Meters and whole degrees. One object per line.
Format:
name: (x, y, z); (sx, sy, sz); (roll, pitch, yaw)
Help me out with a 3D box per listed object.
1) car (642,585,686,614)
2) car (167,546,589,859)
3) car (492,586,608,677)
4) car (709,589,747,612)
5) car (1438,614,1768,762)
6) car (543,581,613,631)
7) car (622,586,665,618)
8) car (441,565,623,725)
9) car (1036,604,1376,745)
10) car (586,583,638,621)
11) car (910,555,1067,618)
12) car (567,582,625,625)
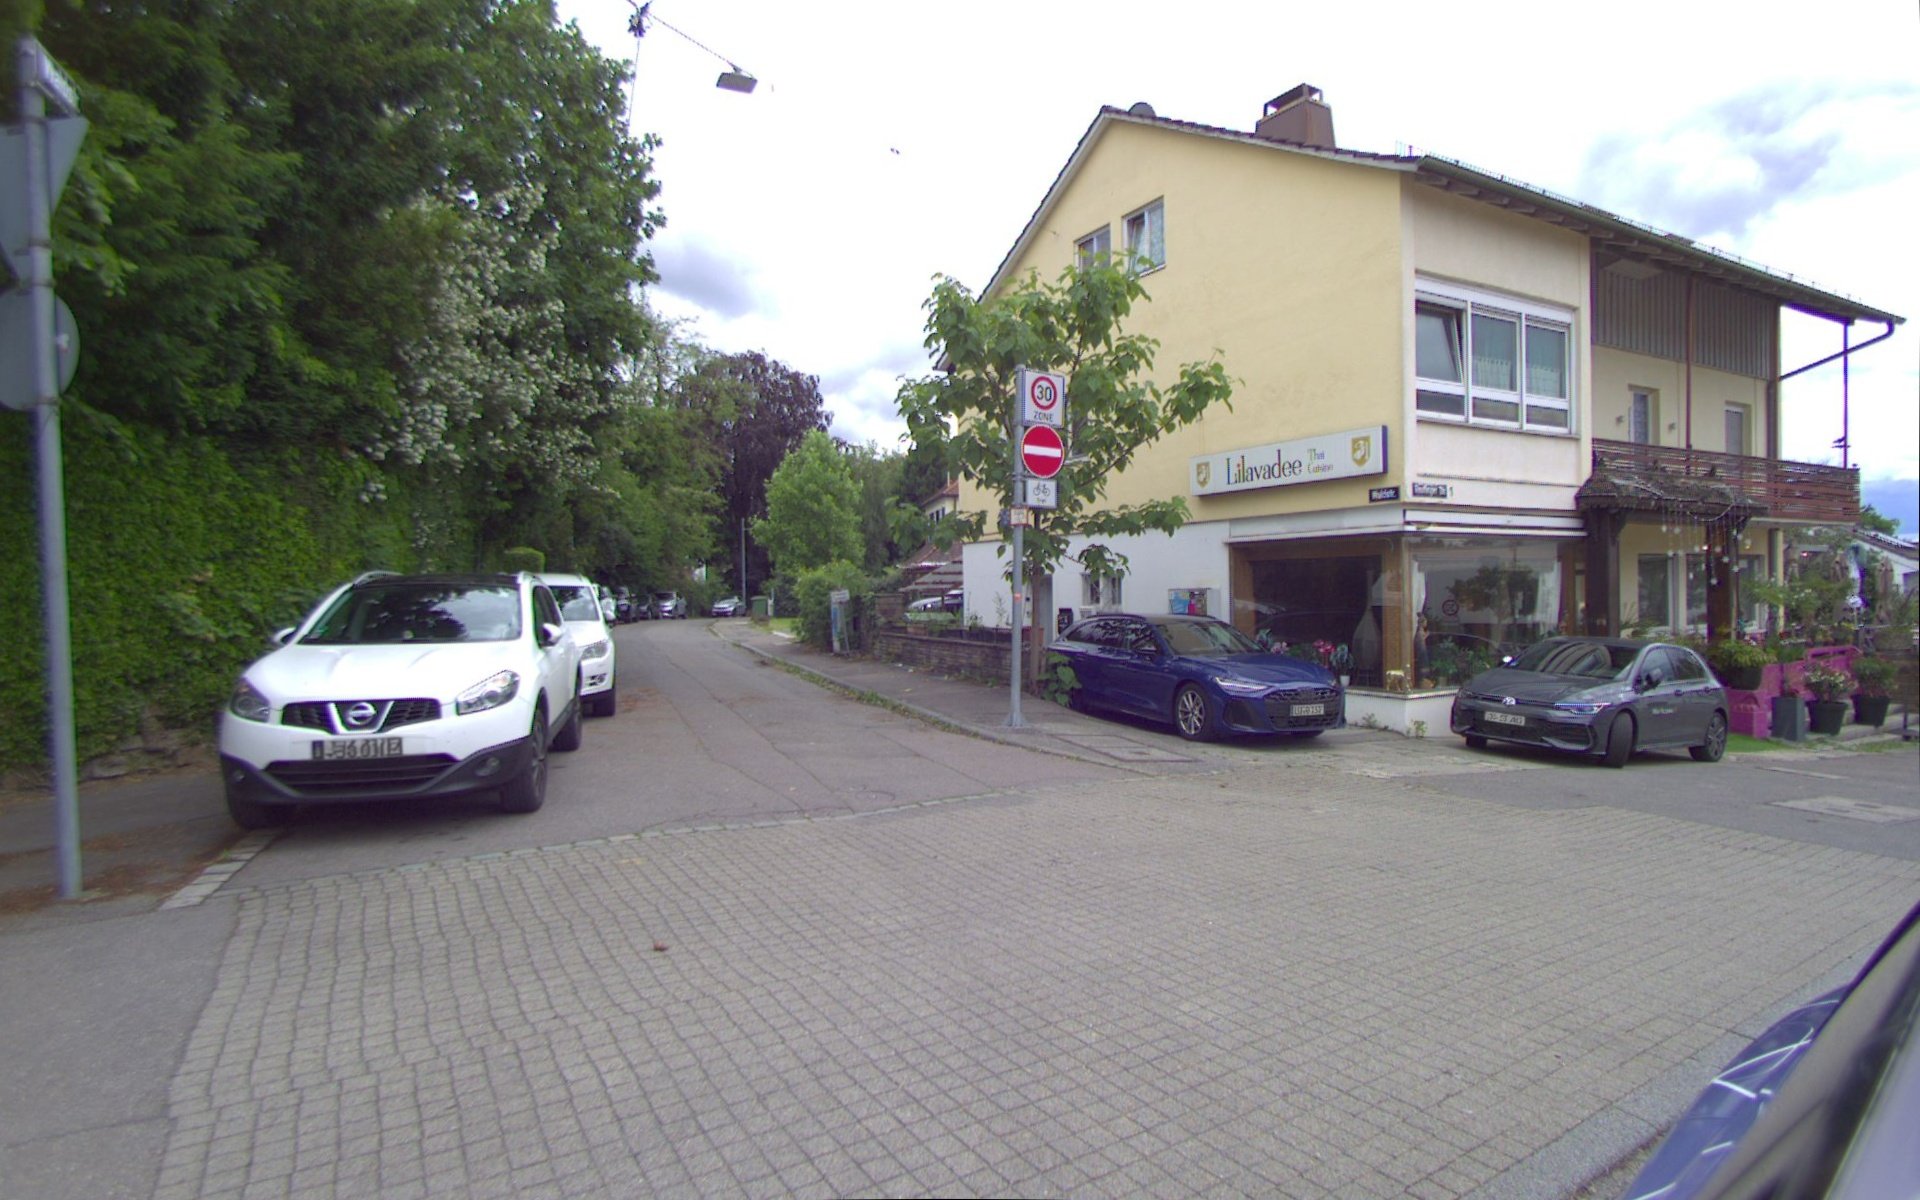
car: (-16.260, -0.040, 55.790); (1.543, 1.502, 3.476); (0, 1, -3)
car: (-3.879, 0.508, 7.552); (1.761, 1.643, 4.144); (-1, 1, -16)
car: (-7.418, 0.476, 18.559); (1.761, 1.441, 4.080); (-1, 1, -20)
car: (-16.370, 0.030, 71.453); (1.547, 1.502, 3.468); (0, 1, 7)
car: (7.930, 1.064, 12.371); (4.242, 1.480, 1.800); (5, -2, -34)
car: (-12.233, 0.140, 32.588); (1.542, 1.502, 3.745); (-1, 1, -11)
car: (-15.936, 0.076, 51.108); (1.542, 1.502, 3.479); (-1, 1, -8)
car: (-5.190, 0.435, 12.607); (1.761, 1.643, 4.080); (-1, 1, -20)
car: (2.902, 0.828, 13.210); (1.761, 1.405, 4.758); (2, 0, -23)
car: (-14.225, 0.046, 41.522); (1.542, 1.502, 3.481); (-1, 1, -11)
car: (0.829, -0.367, 30.140); (4.235, 1.480, 1.802); (4, -2, -19)
car: (-13.440, 0.105, 37.542); (1.542, 1.502, 3.481); (-1, 1, -11)
